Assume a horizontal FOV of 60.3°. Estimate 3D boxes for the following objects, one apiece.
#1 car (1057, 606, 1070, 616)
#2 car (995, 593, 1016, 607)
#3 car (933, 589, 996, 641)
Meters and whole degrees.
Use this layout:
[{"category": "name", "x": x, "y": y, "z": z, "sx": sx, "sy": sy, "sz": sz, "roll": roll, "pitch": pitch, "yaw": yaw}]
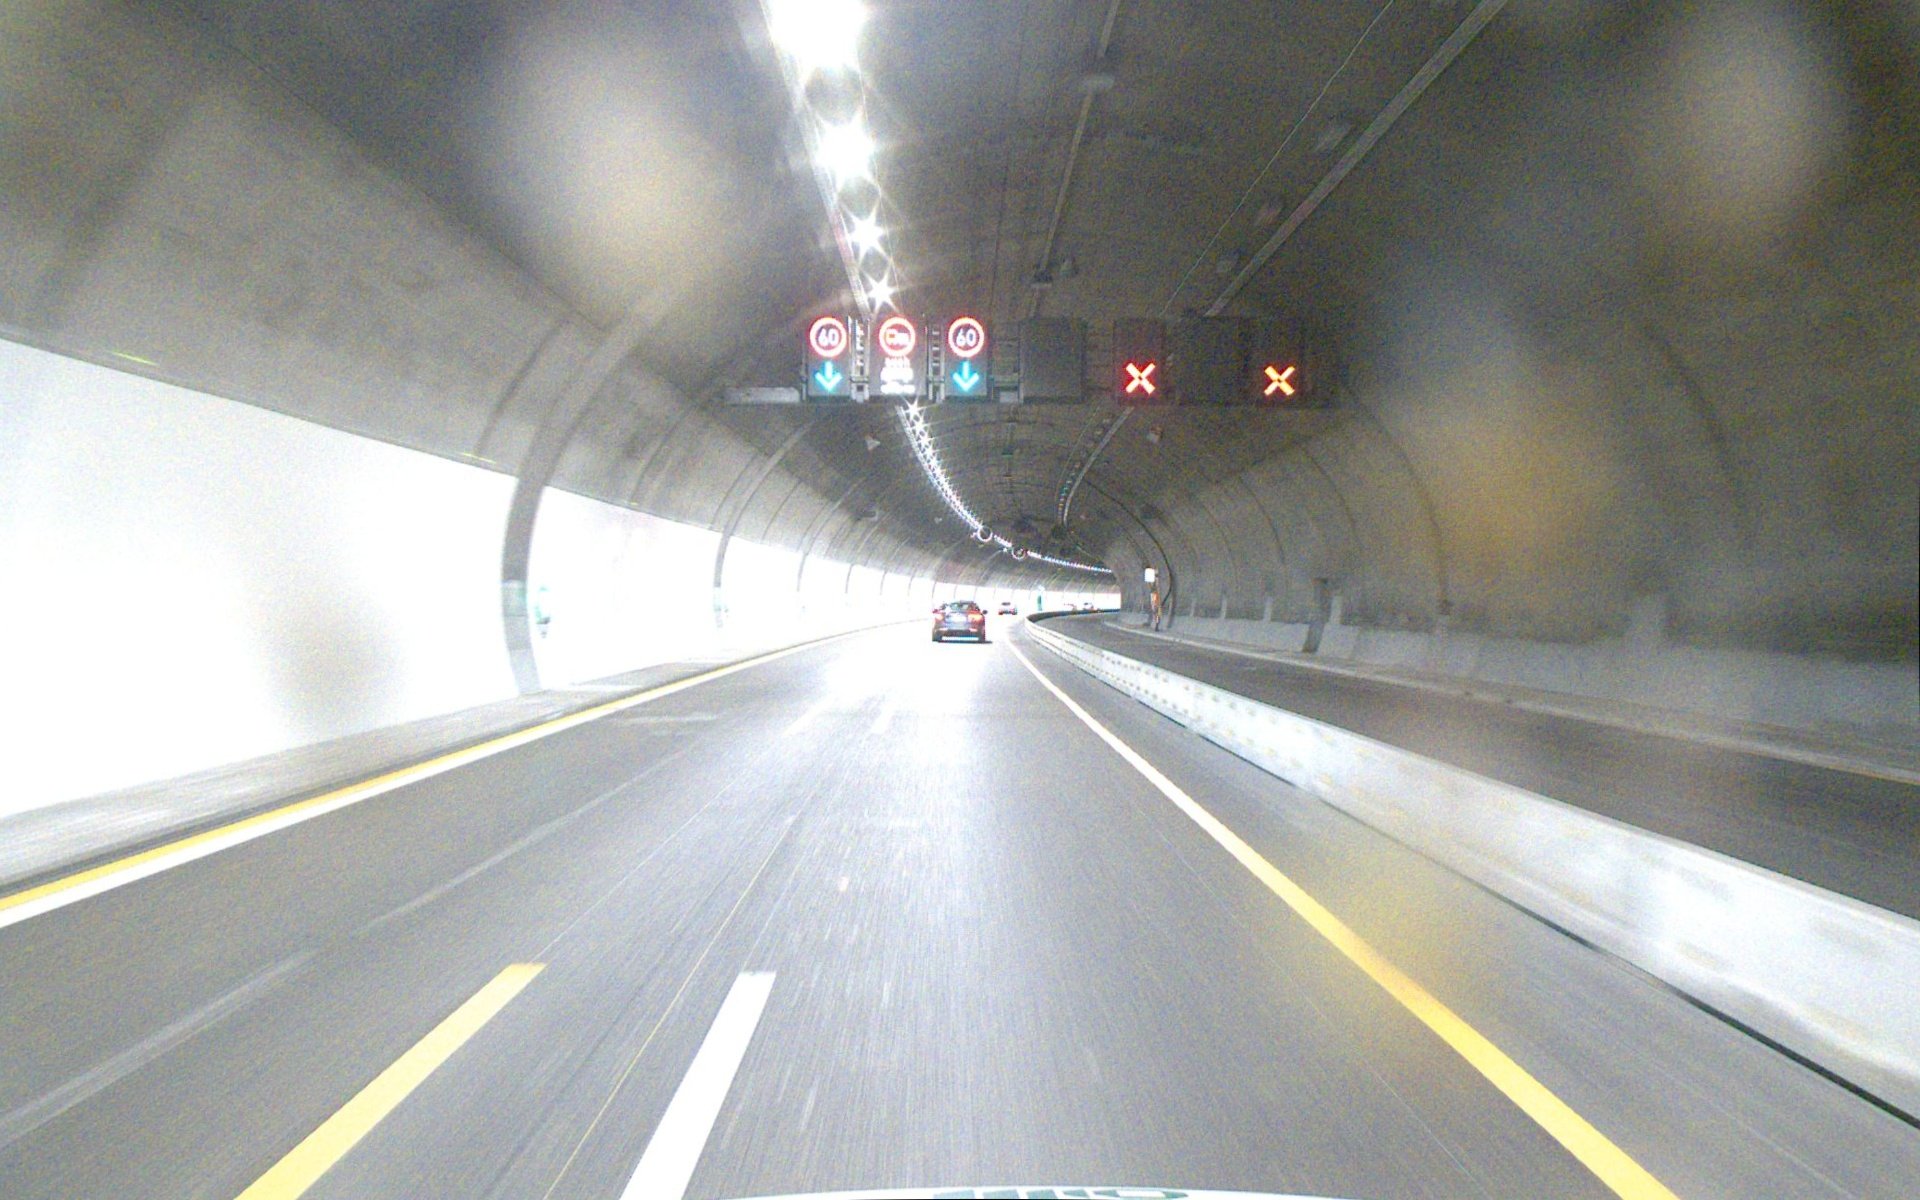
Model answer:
[{"category": "car", "x": 14.832, "y": 1.531, "z": 237.398, "sx": 1.561, "sy": 1.356, "sz": 3.753, "roll": 1, "pitch": 0, "yaw": 7}, {"category": "car", "x": 5.068, "y": 0.006, "z": 185.021, "sx": 2.119, "sy": 1.512, "sz": 4.002, "roll": 1, "pitch": 0, "yaw": 4}, {"category": "car", "x": 0.149, "y": 0.511, "z": 57.817, "sx": 2.097, "sy": 1.736, "sz": 4.000, "roll": 0, "pitch": 0, "yaw": 0}]
